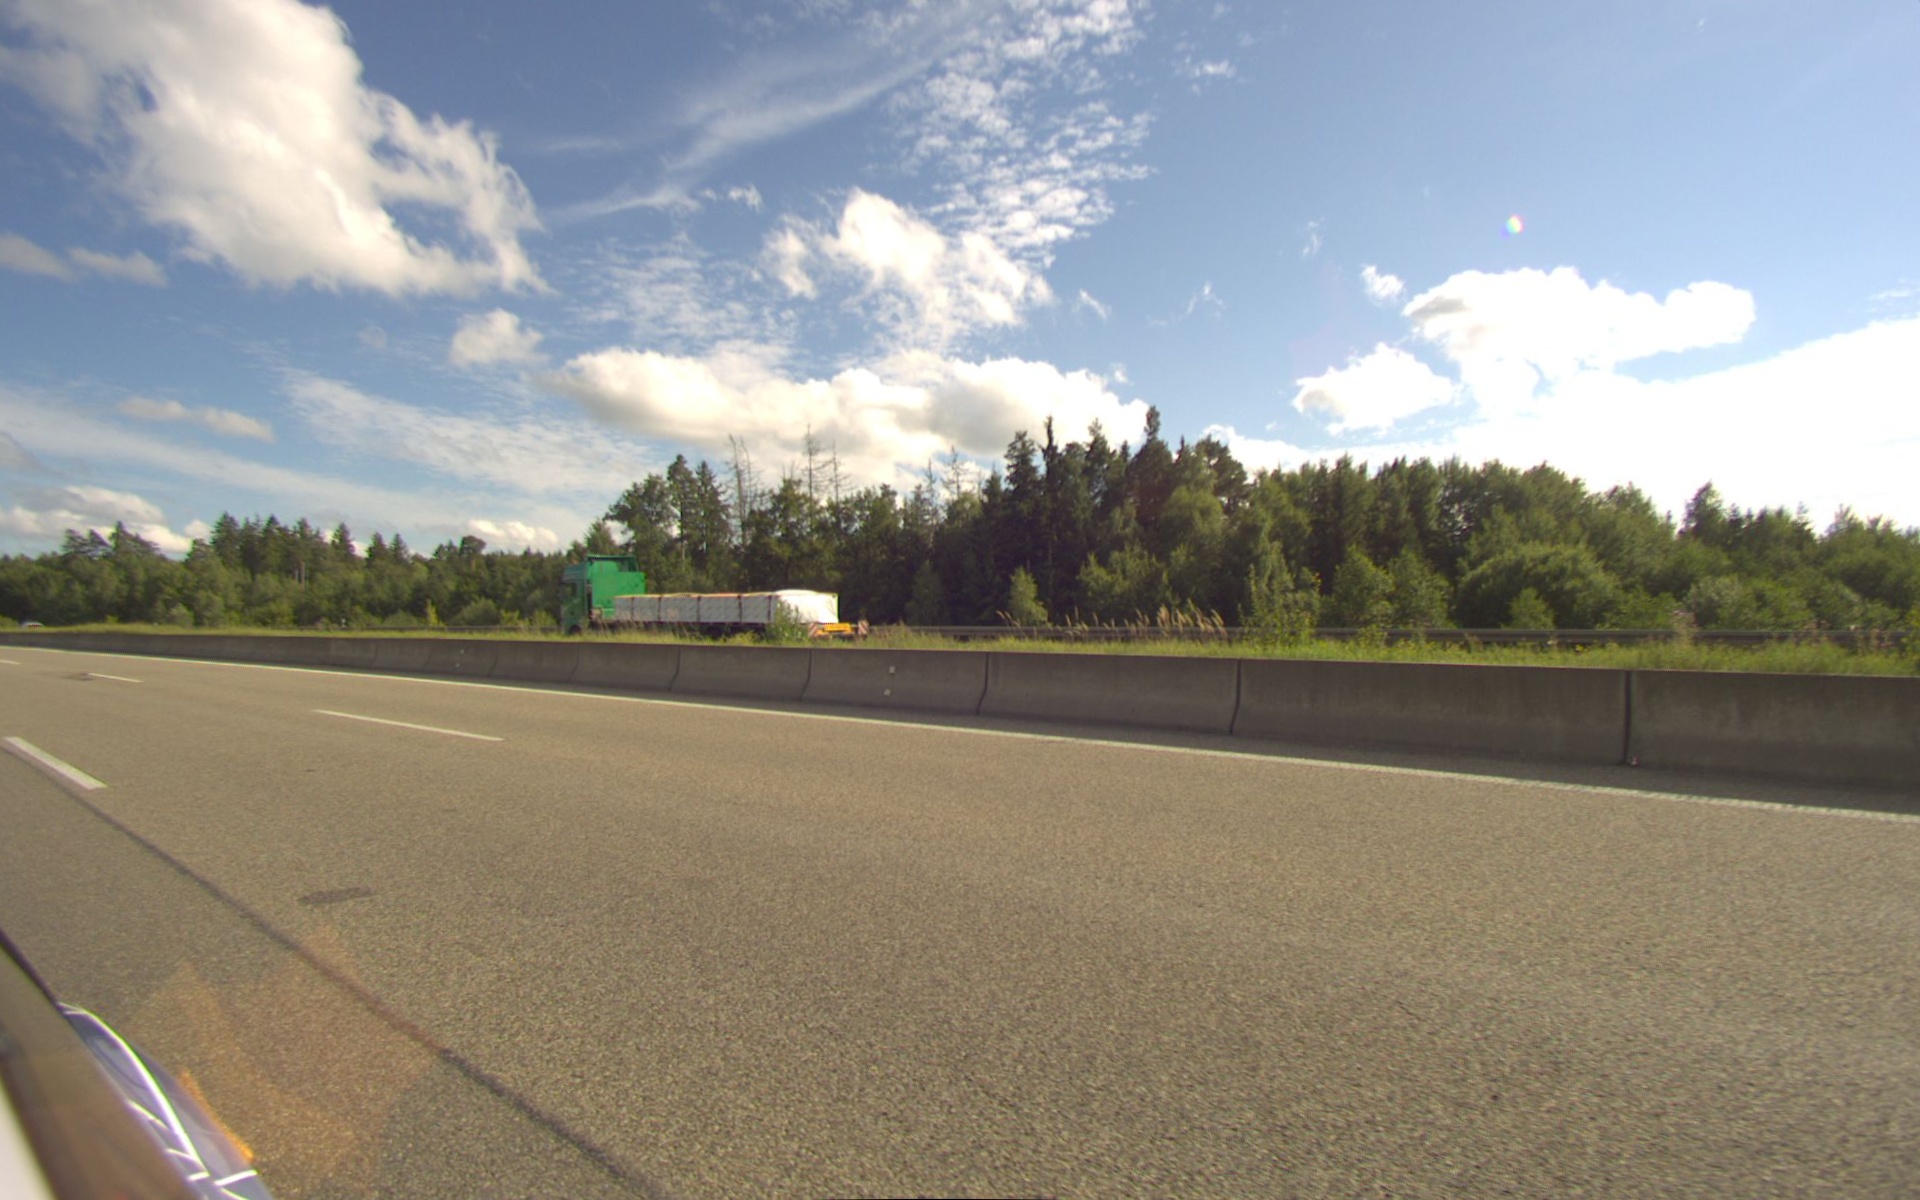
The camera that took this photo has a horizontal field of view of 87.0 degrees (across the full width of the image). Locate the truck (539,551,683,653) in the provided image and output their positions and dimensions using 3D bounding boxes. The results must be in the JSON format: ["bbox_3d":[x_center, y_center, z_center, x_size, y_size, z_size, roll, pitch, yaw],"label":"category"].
[{"bbox_3d":[-14.980,0.129,43.319,5.860,4.039,3.341,-2,-1,41],"label":"truck"}]

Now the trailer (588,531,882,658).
[{"bbox_3d":[-8.928,-0.045,38.035,13.632,4.039,3.340,-2,-1,41],"label":"trailer"}]
